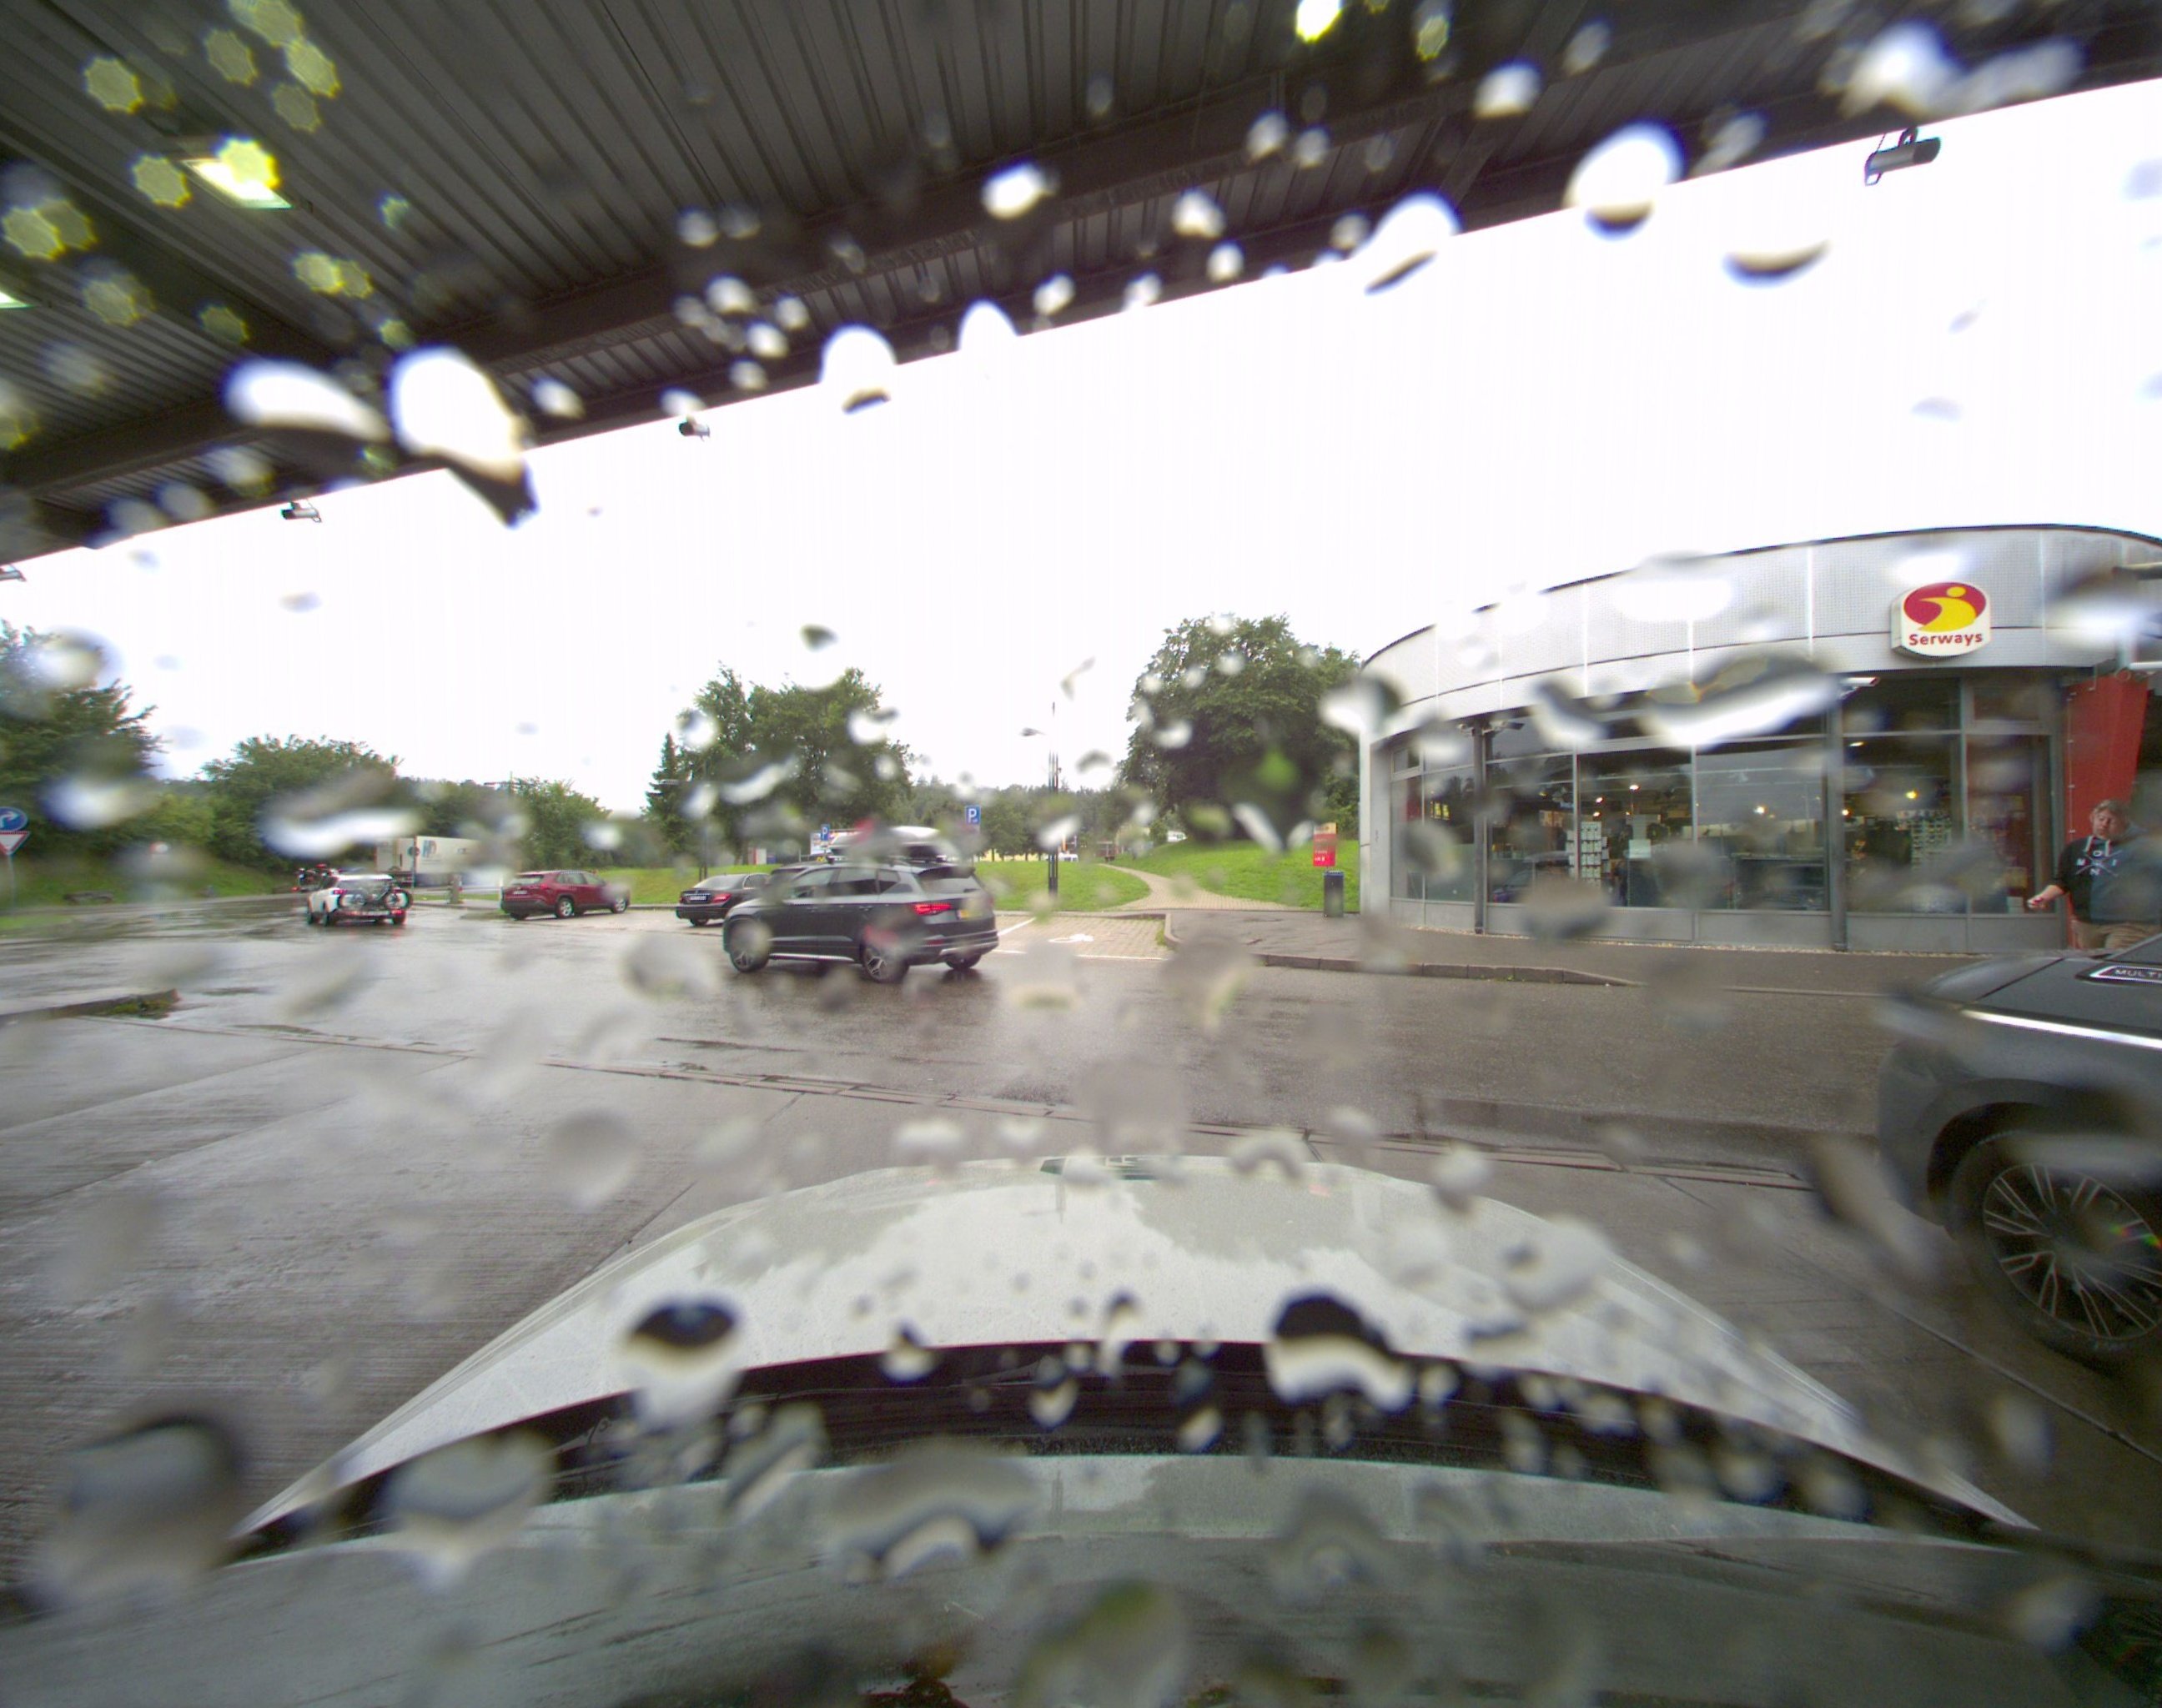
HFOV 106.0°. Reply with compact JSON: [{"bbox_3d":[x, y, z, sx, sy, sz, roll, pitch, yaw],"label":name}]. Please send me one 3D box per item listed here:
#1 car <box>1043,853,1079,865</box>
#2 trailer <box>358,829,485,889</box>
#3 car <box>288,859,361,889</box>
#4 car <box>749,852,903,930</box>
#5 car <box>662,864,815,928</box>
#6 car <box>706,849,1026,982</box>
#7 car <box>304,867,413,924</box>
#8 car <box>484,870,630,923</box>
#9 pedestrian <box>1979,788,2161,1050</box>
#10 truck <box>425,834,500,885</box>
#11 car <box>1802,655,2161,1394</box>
[{"bbox_3d":[-3.234,0.811,133.952,5.376,2.013,2.468,-1,0,21],"label":"car"},{"bbox_3d":[-54.889,0.428,68.465,3.466,4.557,13.827,0,-1,-18],"label":"trailer"},{"bbox_3d":[-49.236,1.278,53.095,1.934,1.838,4.361,-1,0,-20],"label":"car"},{"bbox_3d":[-6.616,0.887,21.729,1.871,1.828,4.429,-2,0,13],"label":"car"},{"bbox_3d":[-9.617,1.137,23.286,1.871,1.565,4.200,-2,0,13],"label":"car"},{"bbox_3d":[-3.113,0.755,11.636,4.271,1.587,1.902,-1,0,29],"label":"car"},{"bbox_3d":[-22.588,1.207,25.403,4.940,1.565,1.831,-1,0,40],"label":"car"},{"bbox_3d":[-18.158,1.416,28.509,1.873,1.596,4.364,-2,0,8],"label":"car"},{"bbox_3d":[7.958,0.464,6.388,0.712,1.894,1.009,-1,0,4],"label":"pedestrian"},{"bbox_3d":[-57.112,0.502,75.405,3.467,4.557,6.694,0,-1,-18],"label":"truck"},{"bbox_3d":[3.718,0.444,1.219,1.809,1.948,4.002,-1,0,2],"label":"car"}]
